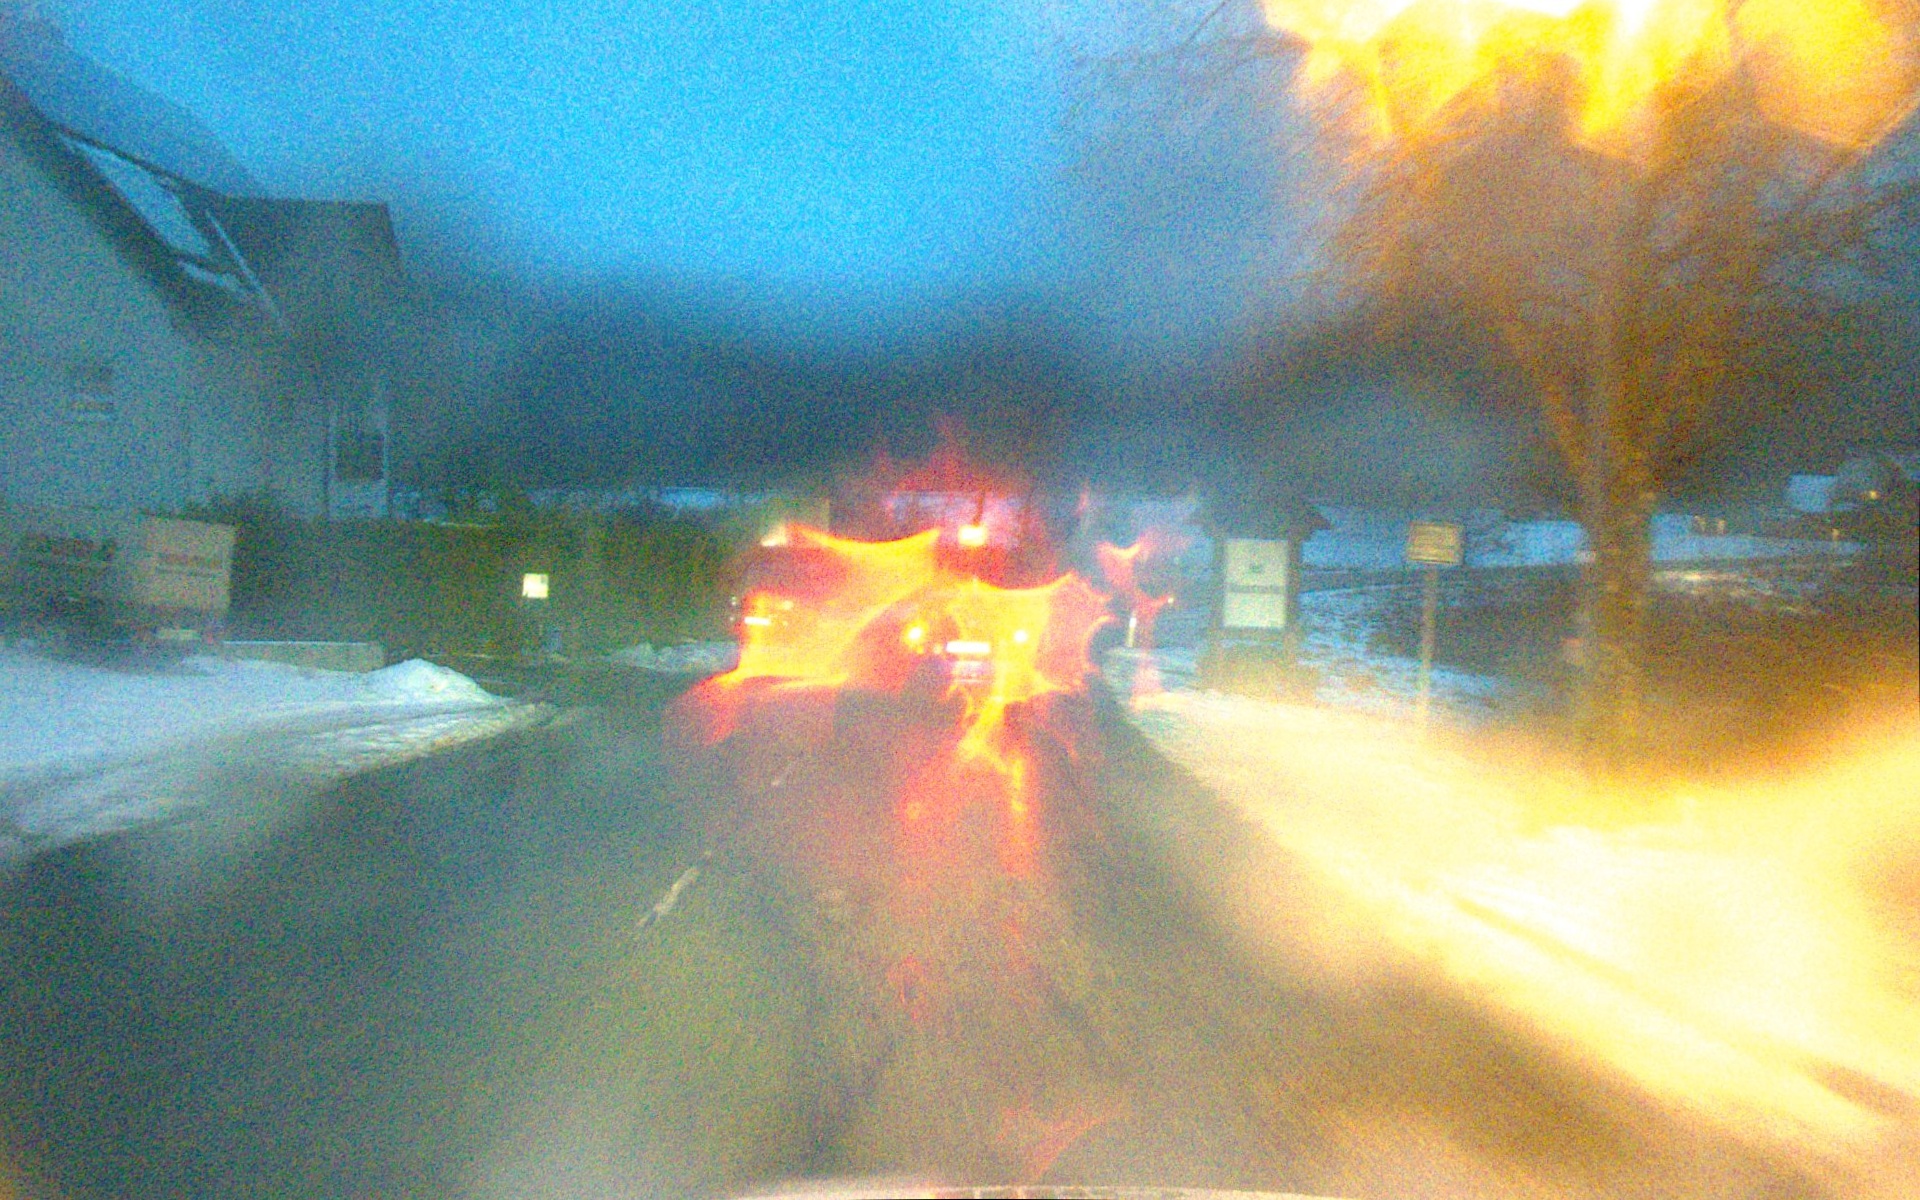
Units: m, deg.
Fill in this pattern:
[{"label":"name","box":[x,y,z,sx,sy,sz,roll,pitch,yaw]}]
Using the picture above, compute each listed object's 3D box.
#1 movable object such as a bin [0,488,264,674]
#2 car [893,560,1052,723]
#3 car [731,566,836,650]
[{"label":"movable object such as a bin","box":[-8.840,-0.224,17.463,2.317,1.676,1.441,6,2,22]},{"label":"car","box":[0.091,0.474,21.065,1.786,1.828,3.576,-2,0,-2]},{"label":"car","box":[-3.769,0.128,35.771,1.682,1.560,3.519,2,3,3]}]
